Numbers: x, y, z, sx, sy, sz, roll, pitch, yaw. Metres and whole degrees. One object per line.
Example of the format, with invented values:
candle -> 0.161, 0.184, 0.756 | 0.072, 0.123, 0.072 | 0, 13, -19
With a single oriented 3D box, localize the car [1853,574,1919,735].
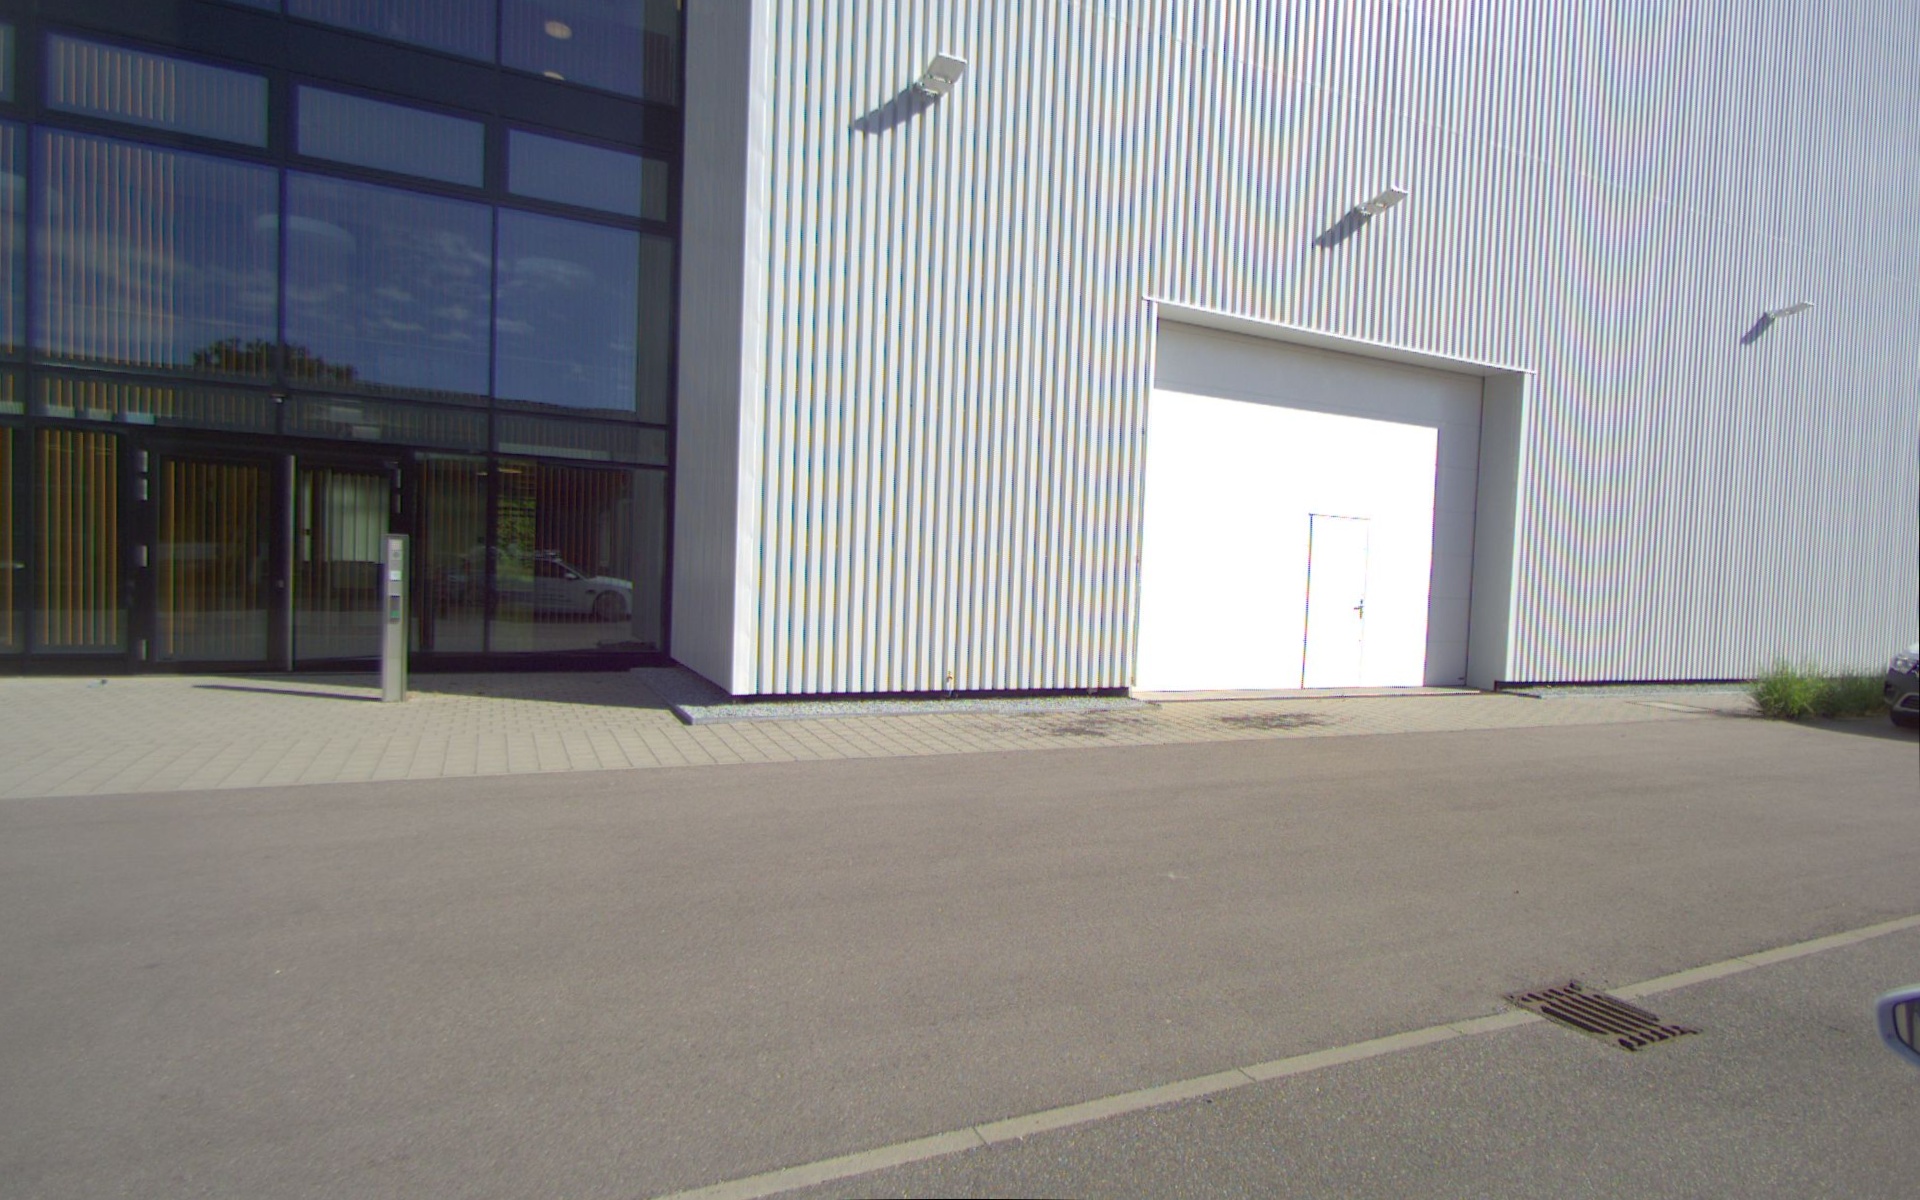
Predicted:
car -> 13.391, 0.734, 12.454 | 4.301, 1.870, 1.883 | 1, 4, -26
